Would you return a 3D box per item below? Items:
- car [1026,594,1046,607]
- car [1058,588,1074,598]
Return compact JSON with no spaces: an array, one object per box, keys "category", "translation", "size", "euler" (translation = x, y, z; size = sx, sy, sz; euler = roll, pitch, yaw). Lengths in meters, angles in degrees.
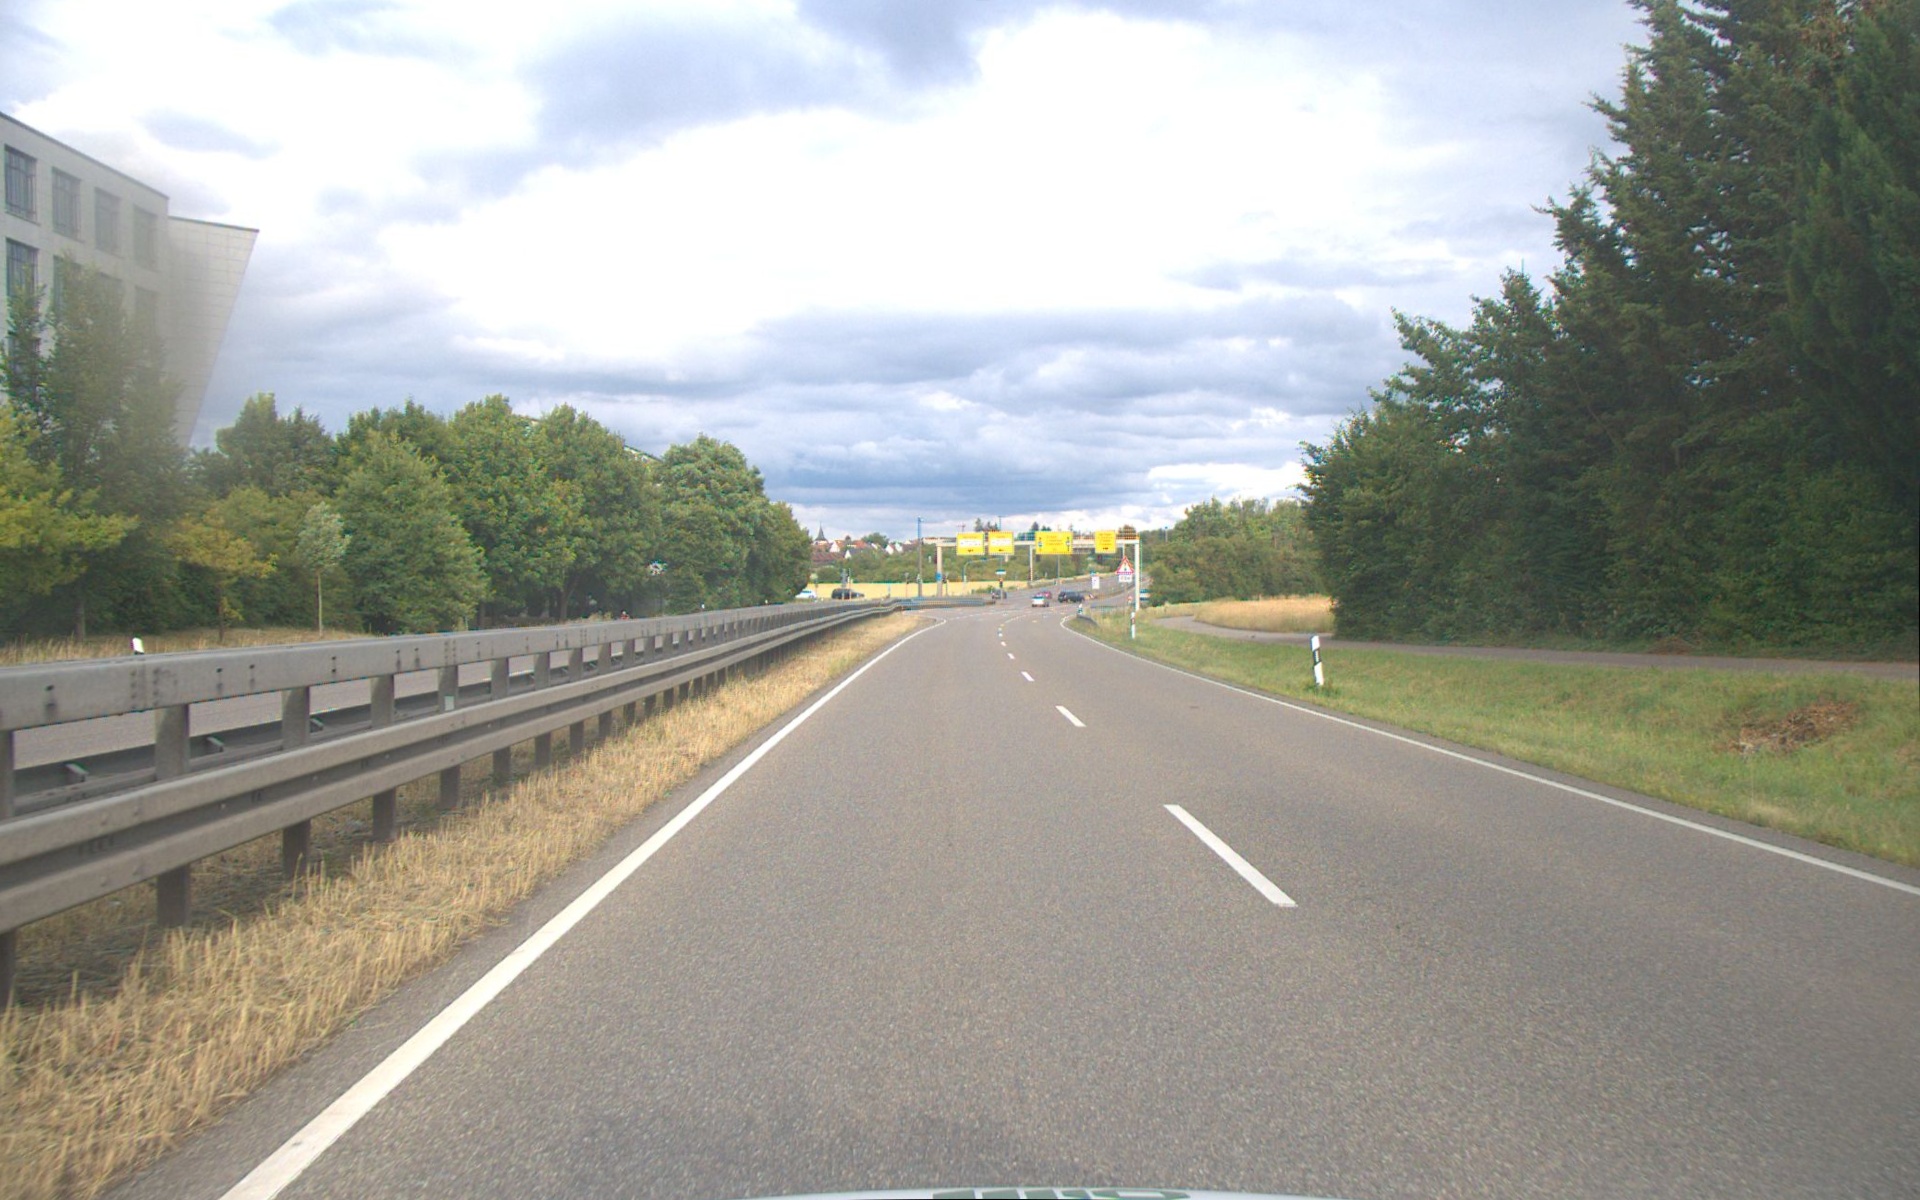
[{"category":"car","translation":[9.508,0.076,206.181],"size":[1.759,1.583,4.003],"euler":[0,0,12]},{"category":"car","translation":[15.874,-1.049,247.814],"size":[1.759,1.583,4.003],"euler":[0,0,12]}]
